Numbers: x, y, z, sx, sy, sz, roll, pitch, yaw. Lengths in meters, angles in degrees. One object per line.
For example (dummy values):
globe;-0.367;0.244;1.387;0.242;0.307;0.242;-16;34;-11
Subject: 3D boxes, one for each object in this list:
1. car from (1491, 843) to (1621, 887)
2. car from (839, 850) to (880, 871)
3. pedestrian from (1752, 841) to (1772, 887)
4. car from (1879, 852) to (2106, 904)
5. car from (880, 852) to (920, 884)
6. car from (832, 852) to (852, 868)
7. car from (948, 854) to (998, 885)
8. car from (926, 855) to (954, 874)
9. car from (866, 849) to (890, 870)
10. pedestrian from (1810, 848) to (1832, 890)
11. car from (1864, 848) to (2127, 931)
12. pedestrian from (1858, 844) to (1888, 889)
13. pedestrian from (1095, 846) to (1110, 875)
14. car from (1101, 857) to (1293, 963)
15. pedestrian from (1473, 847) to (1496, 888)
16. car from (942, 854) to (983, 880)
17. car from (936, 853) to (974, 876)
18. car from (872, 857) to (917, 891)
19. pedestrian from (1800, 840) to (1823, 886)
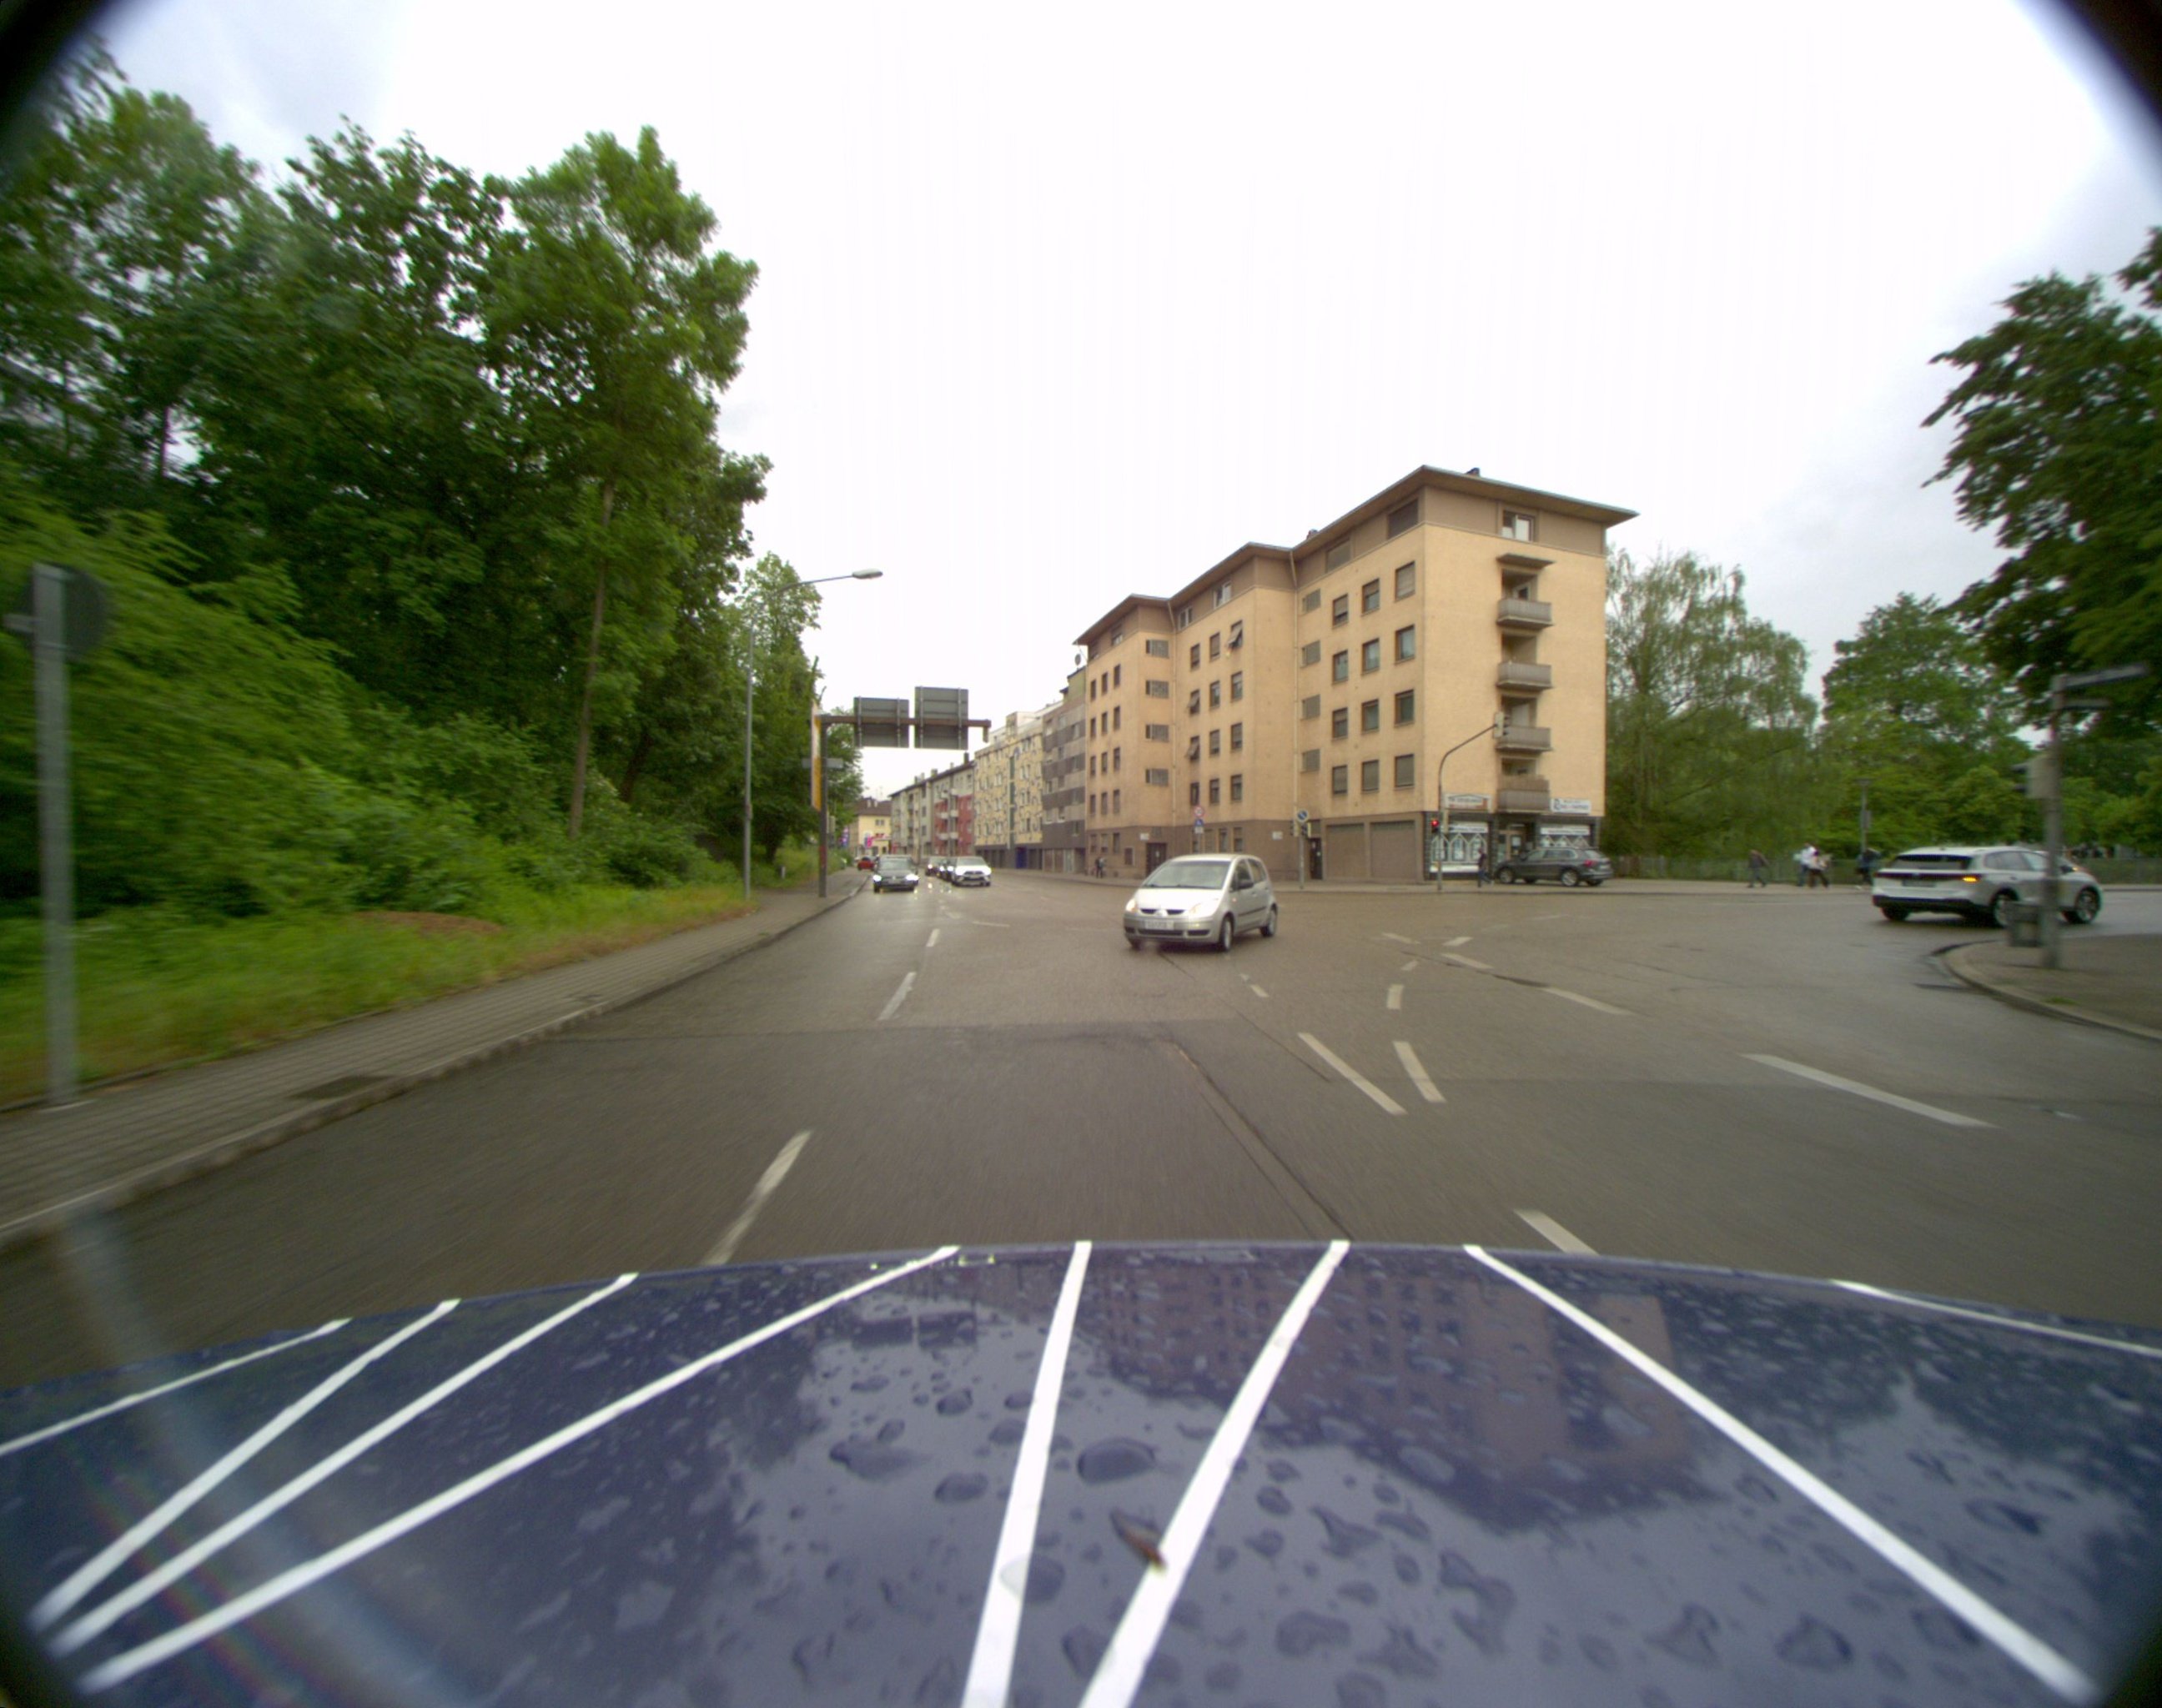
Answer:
car;19.677;0.399;31.661;1.762;1.638;4.271;-1;2;-27
car;-21.965;0.589;75.266;2.004;2.002;4.474;-1;1;-45
pedestrian;26.745;0.398;29.846;0.558;1.793;0.477;0;1;39
car;27.297;0.682;22.881;4.503;1.454;2.000;0;0;-1
car;-9.883;0.702;41.534;2.001;1.607;4.614;-1;0;-13
car;-25.971;0.604;82.777;1.912;1.701;4.889;-1;0;-16
car;-5.582;0.770;38.904;1.881;1.469;4.547;0;0;-17
car;-10.698;0.791;57.374;1.713;1.386;3.994;0;0;-15
car;-16.194;0.438;60.589;1.683;1.646;3.994;0;0;-17
pedestrian;28.114;0.554;28.871;0.442;1.574;0.461;-1;1;-27
car;19.870;0.717;16.565;4.475;1.661;1.842;0;0;-13
pedestrian;29.716;0.459;28.524;0.701;1.637;0.661;0;1;41
pedestrian;1.506;0.445;53.222;0.811;2.001;0.857;-1;0;-18
car;2.171;0.844;13.239;1.749;1.510;4.008;-1;0;34
pedestrian;16.158;0.528;30.449;0.581;1.629;0.618;0;1;4
car;-7.219;0.754;46.130;1.921;1.469;4.613;0;0;-16
car;-8.549;0.658;51.332;2.001;1.469;4.613;0;0;-17
car;-8.398;0.852;34.449;1.821;1.400;4.227;-1;0;-12
pedestrian;28.818;0.363;29.970;0.508;1.793;0.498;0;1;24
